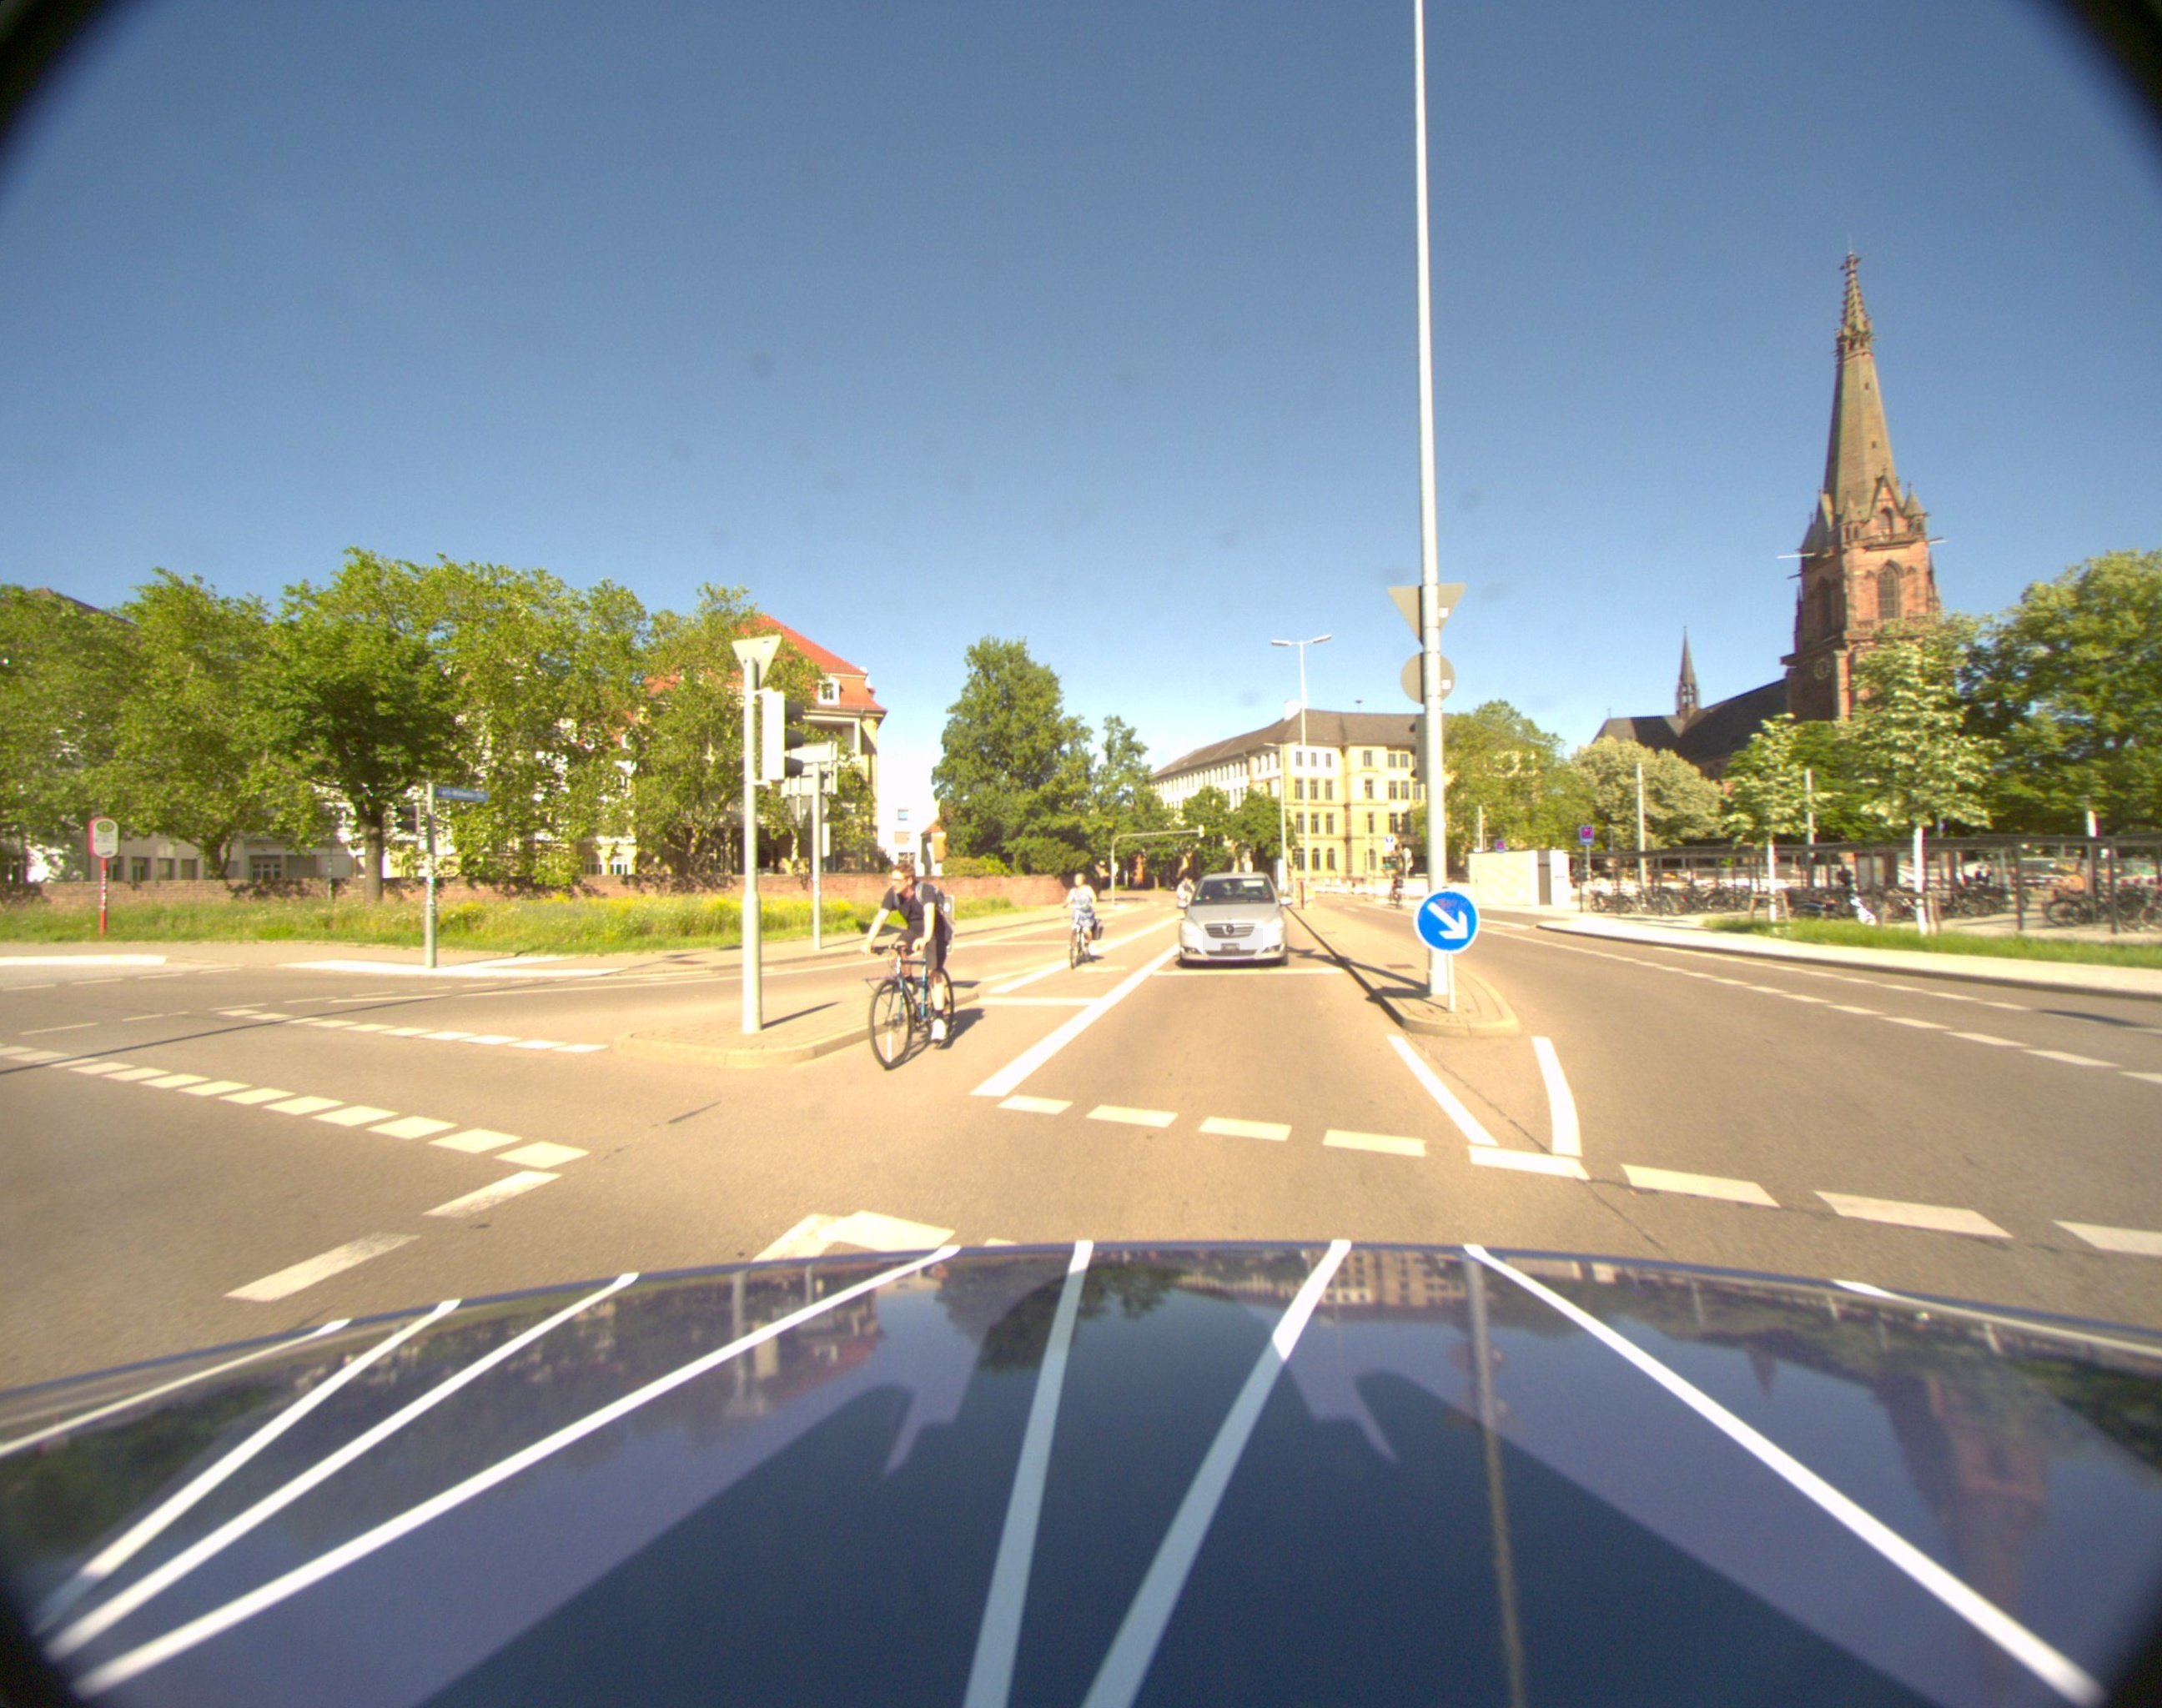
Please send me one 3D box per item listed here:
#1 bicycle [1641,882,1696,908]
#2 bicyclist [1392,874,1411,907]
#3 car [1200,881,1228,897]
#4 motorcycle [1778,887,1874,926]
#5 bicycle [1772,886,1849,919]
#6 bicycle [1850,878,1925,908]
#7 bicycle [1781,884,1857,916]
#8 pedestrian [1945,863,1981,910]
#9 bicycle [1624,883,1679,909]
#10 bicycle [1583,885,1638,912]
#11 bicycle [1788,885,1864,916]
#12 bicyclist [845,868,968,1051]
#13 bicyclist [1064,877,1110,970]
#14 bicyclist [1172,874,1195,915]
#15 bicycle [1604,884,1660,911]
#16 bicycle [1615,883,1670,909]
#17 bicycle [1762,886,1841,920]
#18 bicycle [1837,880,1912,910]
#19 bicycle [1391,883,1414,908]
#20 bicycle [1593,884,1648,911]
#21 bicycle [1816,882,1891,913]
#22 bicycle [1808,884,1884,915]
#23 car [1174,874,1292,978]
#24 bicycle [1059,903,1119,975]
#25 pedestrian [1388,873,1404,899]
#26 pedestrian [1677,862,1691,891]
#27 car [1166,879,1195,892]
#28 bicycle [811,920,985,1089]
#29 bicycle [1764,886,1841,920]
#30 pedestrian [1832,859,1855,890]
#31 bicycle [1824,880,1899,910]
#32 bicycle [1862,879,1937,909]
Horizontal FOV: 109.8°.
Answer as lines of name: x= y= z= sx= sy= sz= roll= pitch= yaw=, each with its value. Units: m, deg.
bicycle: x=24.831 y=1.731 z=32.162 sx=0.569 sy=1.031 sz=1.785 roll=1 pitch=-1 yaw=-24
bicyclist: x=16.000 y=1.797 z=37.920 sx=0.720 sy=1.611 sz=0.979 roll=0 pitch=-1 yaw=14
car: x=13.368 y=3.499 z=76.698 sx=1.999 sy=1.464 sz=4.299 roll=-3 pitch=-2 yaw=0
motorcycle: x=22.625 y=1.560 z=23.126 sx=0.595 sy=1.112 sz=1.982 roll=-1 pitch=-2 yaw=-20
bicycle: x=24.577 y=1.628 z=25.638 sx=0.569 sy=1.031 sz=1.785 roll=1 pitch=-1 yaw=-24
bicycle: x=29.495 y=1.412 z=27.831 sx=0.569 sy=1.031 sz=1.785 roll=1 pitch=-1 yaw=-24
bicycle: x=25.166 y=1.552 z=25.937 sx=0.569 sy=1.031 sz=1.785 roll=1 pitch=-1 yaw=-24
pedestrian: x=32.444 y=1.182 z=27.946 sx=0.619 sy=1.712 sz=0.681 roll=-1 pitch=-1 yaw=-25
bicycle: x=23.715 y=1.728 z=31.630 sx=0.569 sy=1.031 sz=1.785 roll=1 pitch=-1 yaw=-24
bicycle: x=21.226 y=1.773 z=30.500 sx=0.569 sy=1.031 sz=1.785 roll=1 pitch=-1 yaw=-24
bicycle: x=25.711 y=1.587 z=26.256 sx=0.569 sy=1.031 sz=1.785 roll=1 pitch=-1 yaw=-24
bicyclist: x=-1.467 y=0.866 z=6.527 sx=0.642 sy=1.435 sz=0.954 roll=-3 pitch=-3 yaw=13
bicyclist: x=0.116 y=1.266 z=14.053 sx=0.642 sy=1.653 sz=0.777 roll=-2 pitch=-1 yaw=13
bicyclist: x=4.220 y=1.652 z=31.296 sx=0.784 sy=1.653 sz=0.777 roll=-2 pitch=-1 yaw=13
bicycle: x=22.513 y=1.771 z=31.077 sx=0.569 sy=1.031 sz=1.785 roll=1 pitch=-1 yaw=-24
bicycle: x=23.144 y=1.728 z=31.358 sx=0.569 sy=1.031 sz=1.785 roll=1 pitch=-1 yaw=-24
bicycle: x=23.611 y=1.593 z=24.933 sx=0.569 sy=1.031 sz=1.785 roll=1 pitch=-1 yaw=-24
bicycle: x=28.798 y=1.456 z=27.598 sx=0.569 sy=1.031 sz=1.785 roll=1 pitch=-1 yaw=-24
bicycle: x=15.994 y=2.044 z=37.868 sx=0.747 sy=1.158 sz=1.873 roll=0 pitch=-1 yaw=14
bicycle: x=21.823 y=1.744 z=30.765 sx=0.569 sy=1.031 sz=1.785 roll=1 pitch=-1 yaw=-24
bicycle: x=27.440 y=1.535 z=27.029 sx=0.569 sy=1.031 sz=1.785 roll=1 pitch=-1 yaw=-24
bicycle: x=26.903 y=1.576 z=26.761 sx=0.569 sy=1.031 sz=1.785 roll=1 pitch=-1 yaw=-24
car: x=2.934 y=1.206 z=14.188 sx=1.769 sy=1.584 sz=4.645 roll=-2 pitch=-2 yaw=14
bicycle: x=0.189 y=1.538 z=14.120 sx=0.642 sy=1.158 sz=1.970 roll=-2 pitch=-2 yaw=14
pedestrian: x=20.899 y=2.095 z=50.385 sx=0.789 sy=1.670 sz=0.649 roll=-4 pitch=-2 yaw=15
pedestrian: x=35.977 y=1.356 z=45.358 sx=0.537 sy=1.711 sz=0.684 roll=-4 pitch=-7 yaw=43
car: x=15.056 y=4.755 z=114.975 sx=3.808 sy=1.804 sz=1.995 roll=0 pitch=-2 yaw=-34
bicycle: x=-1.471 y=1.184 z=6.494 sx=0.642 sy=1.157 sz=1.873 roll=-3 pitch=-4 yaw=13
bicycle: x=24.056 y=1.615 z=25.371 sx=0.569 sy=1.031 sz=1.785 roll=1 pitch=-1 yaw=-24
pedestrian: x=40.491 y=1.089 z=40.352 sx=0.566 sy=1.644 sz=0.519 roll=-4 pitch=-2 yaw=14
bicycle: x=27.979 y=1.451 z=27.285 sx=0.569 sy=1.031 sz=1.785 roll=1 pitch=-1 yaw=-24
bicycle: x=30.223 y=1.466 z=28.091 sx=0.569 sy=1.031 sz=1.785 roll=1 pitch=-1 yaw=-24
